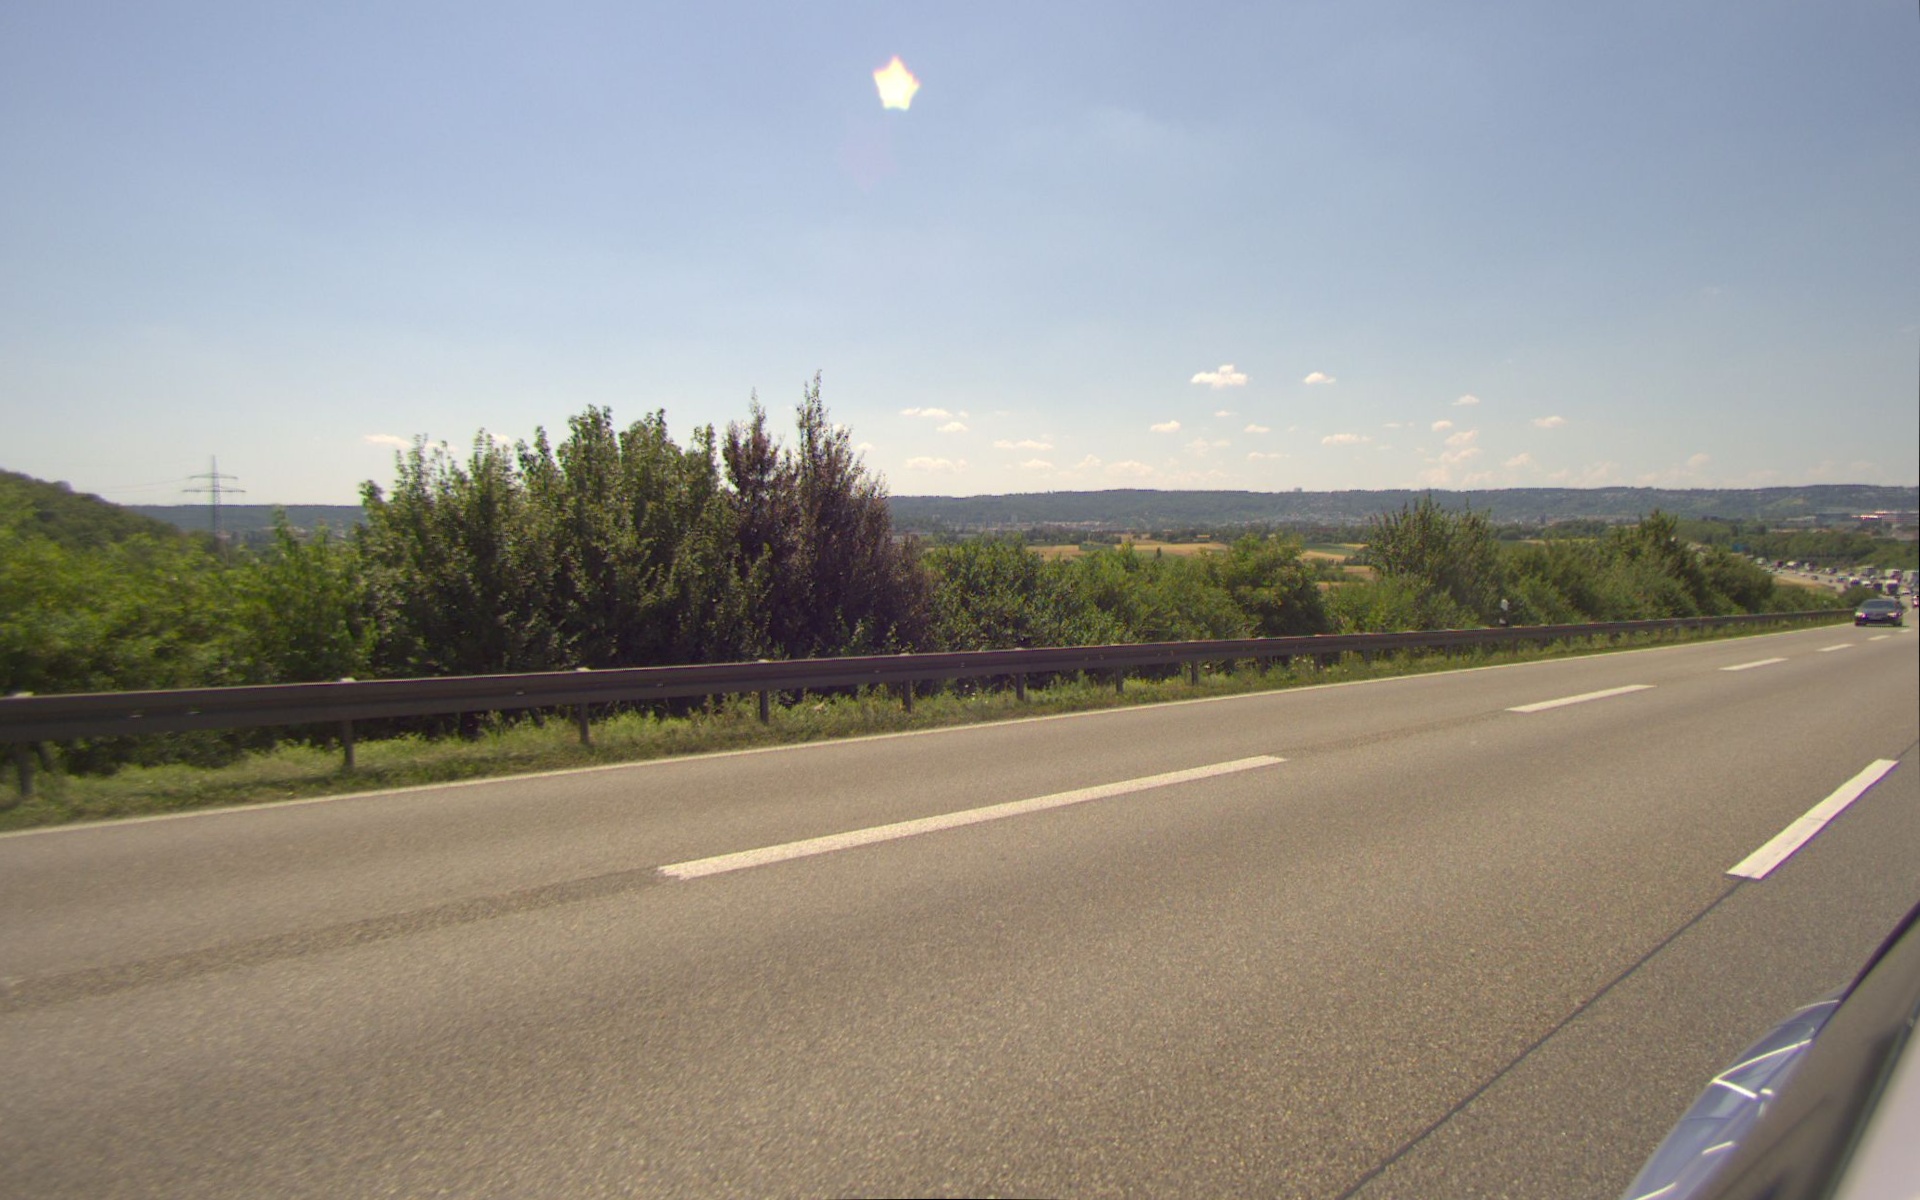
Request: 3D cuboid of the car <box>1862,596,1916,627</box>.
[{"bbox_3d":[50.122,0.582,54.588,2.032,1.571,3.936,0,0,44],"label":"car"}]
